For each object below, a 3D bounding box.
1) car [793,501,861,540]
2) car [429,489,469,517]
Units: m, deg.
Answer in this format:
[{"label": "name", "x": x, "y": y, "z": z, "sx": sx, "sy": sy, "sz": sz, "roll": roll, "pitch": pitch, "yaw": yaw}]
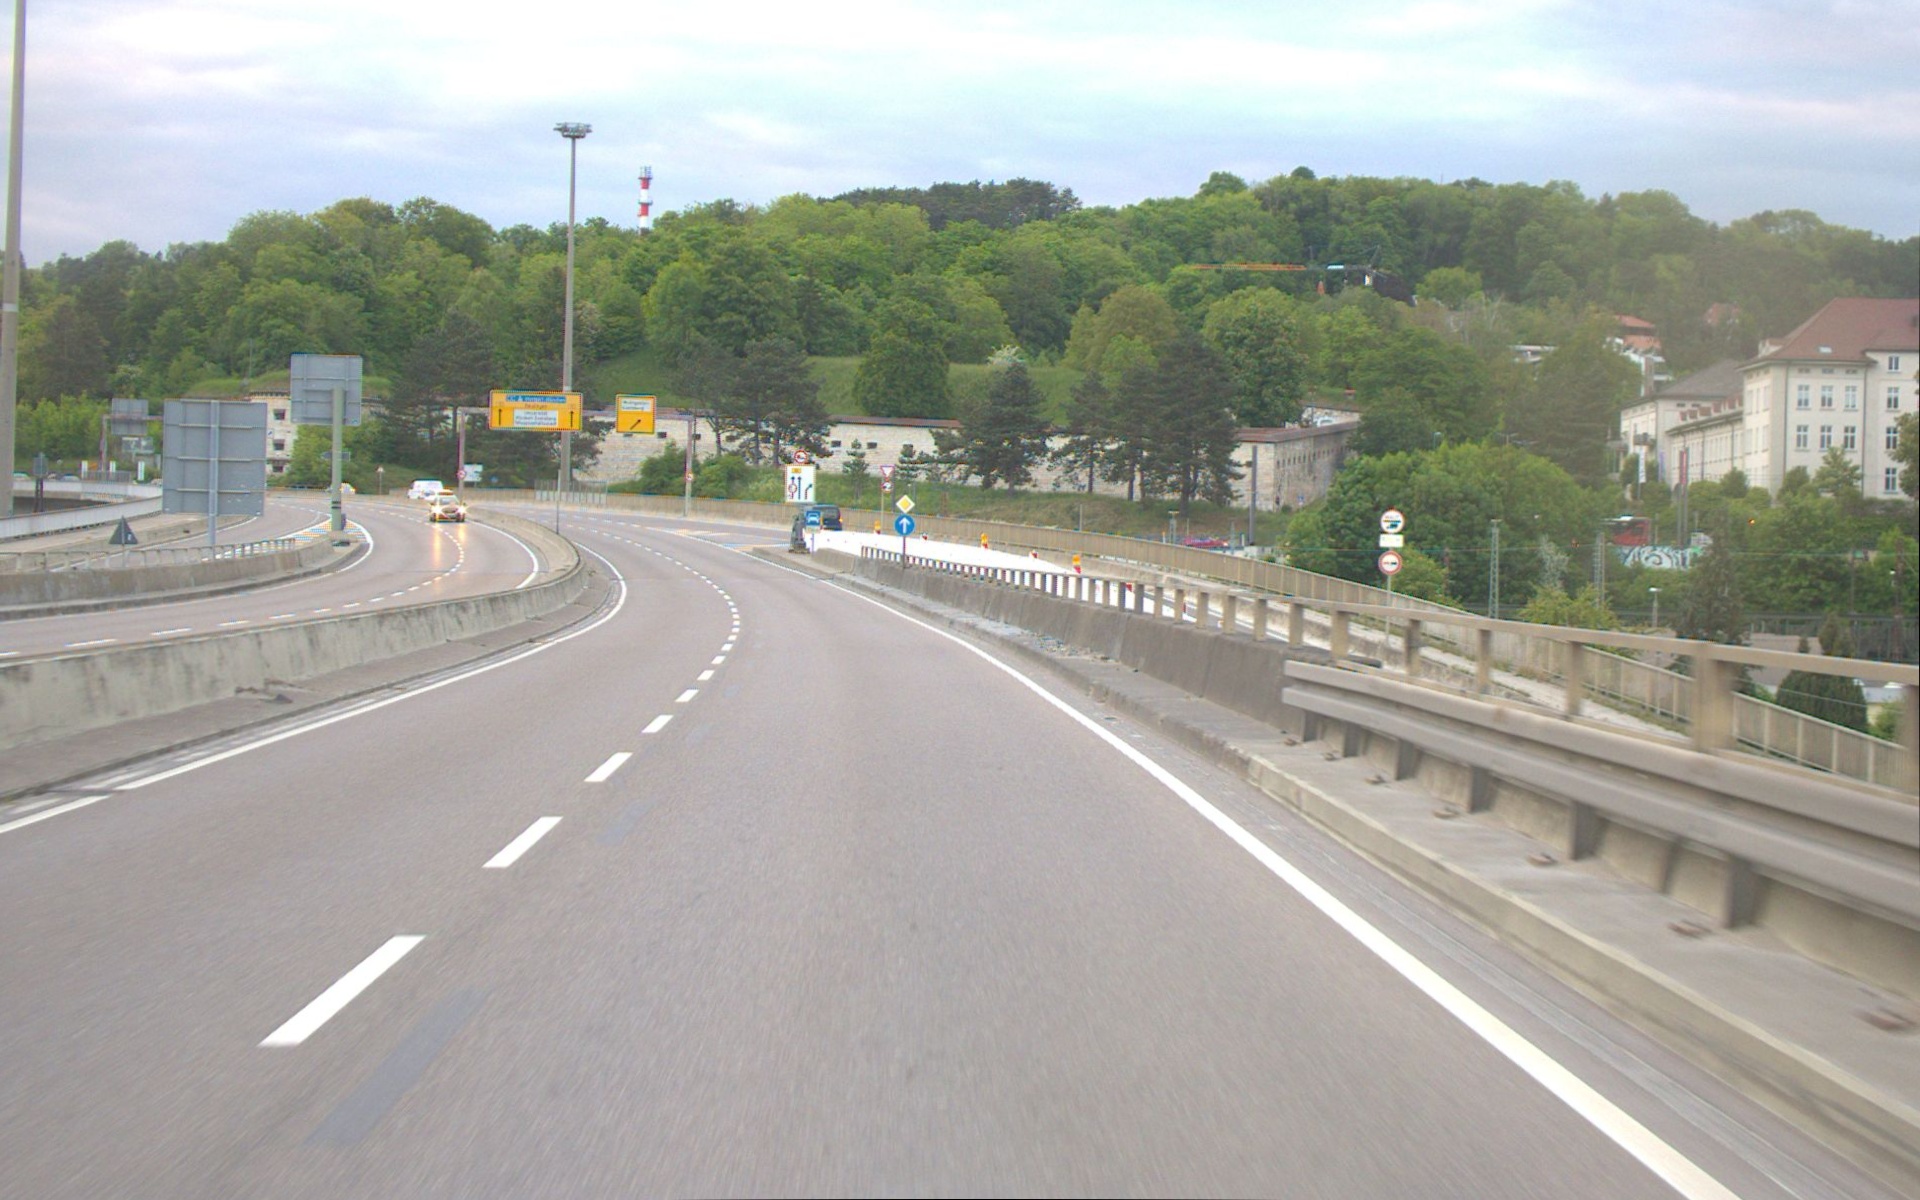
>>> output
[{"label": "car", "x": -6.514, "y": -3.889, "z": 167.996, "sx": 2.304, "sy": 1.757, "sz": 4.264, "roll": 2, "pitch": 2, "yaw": -15}, {"label": "car", "x": -28.916, "y": -5.470, "z": 194.566, "sx": 1.828, "sy": 1.475, "sz": 4.288, "roll": 1, "pitch": 1, "yaw": -14}]
